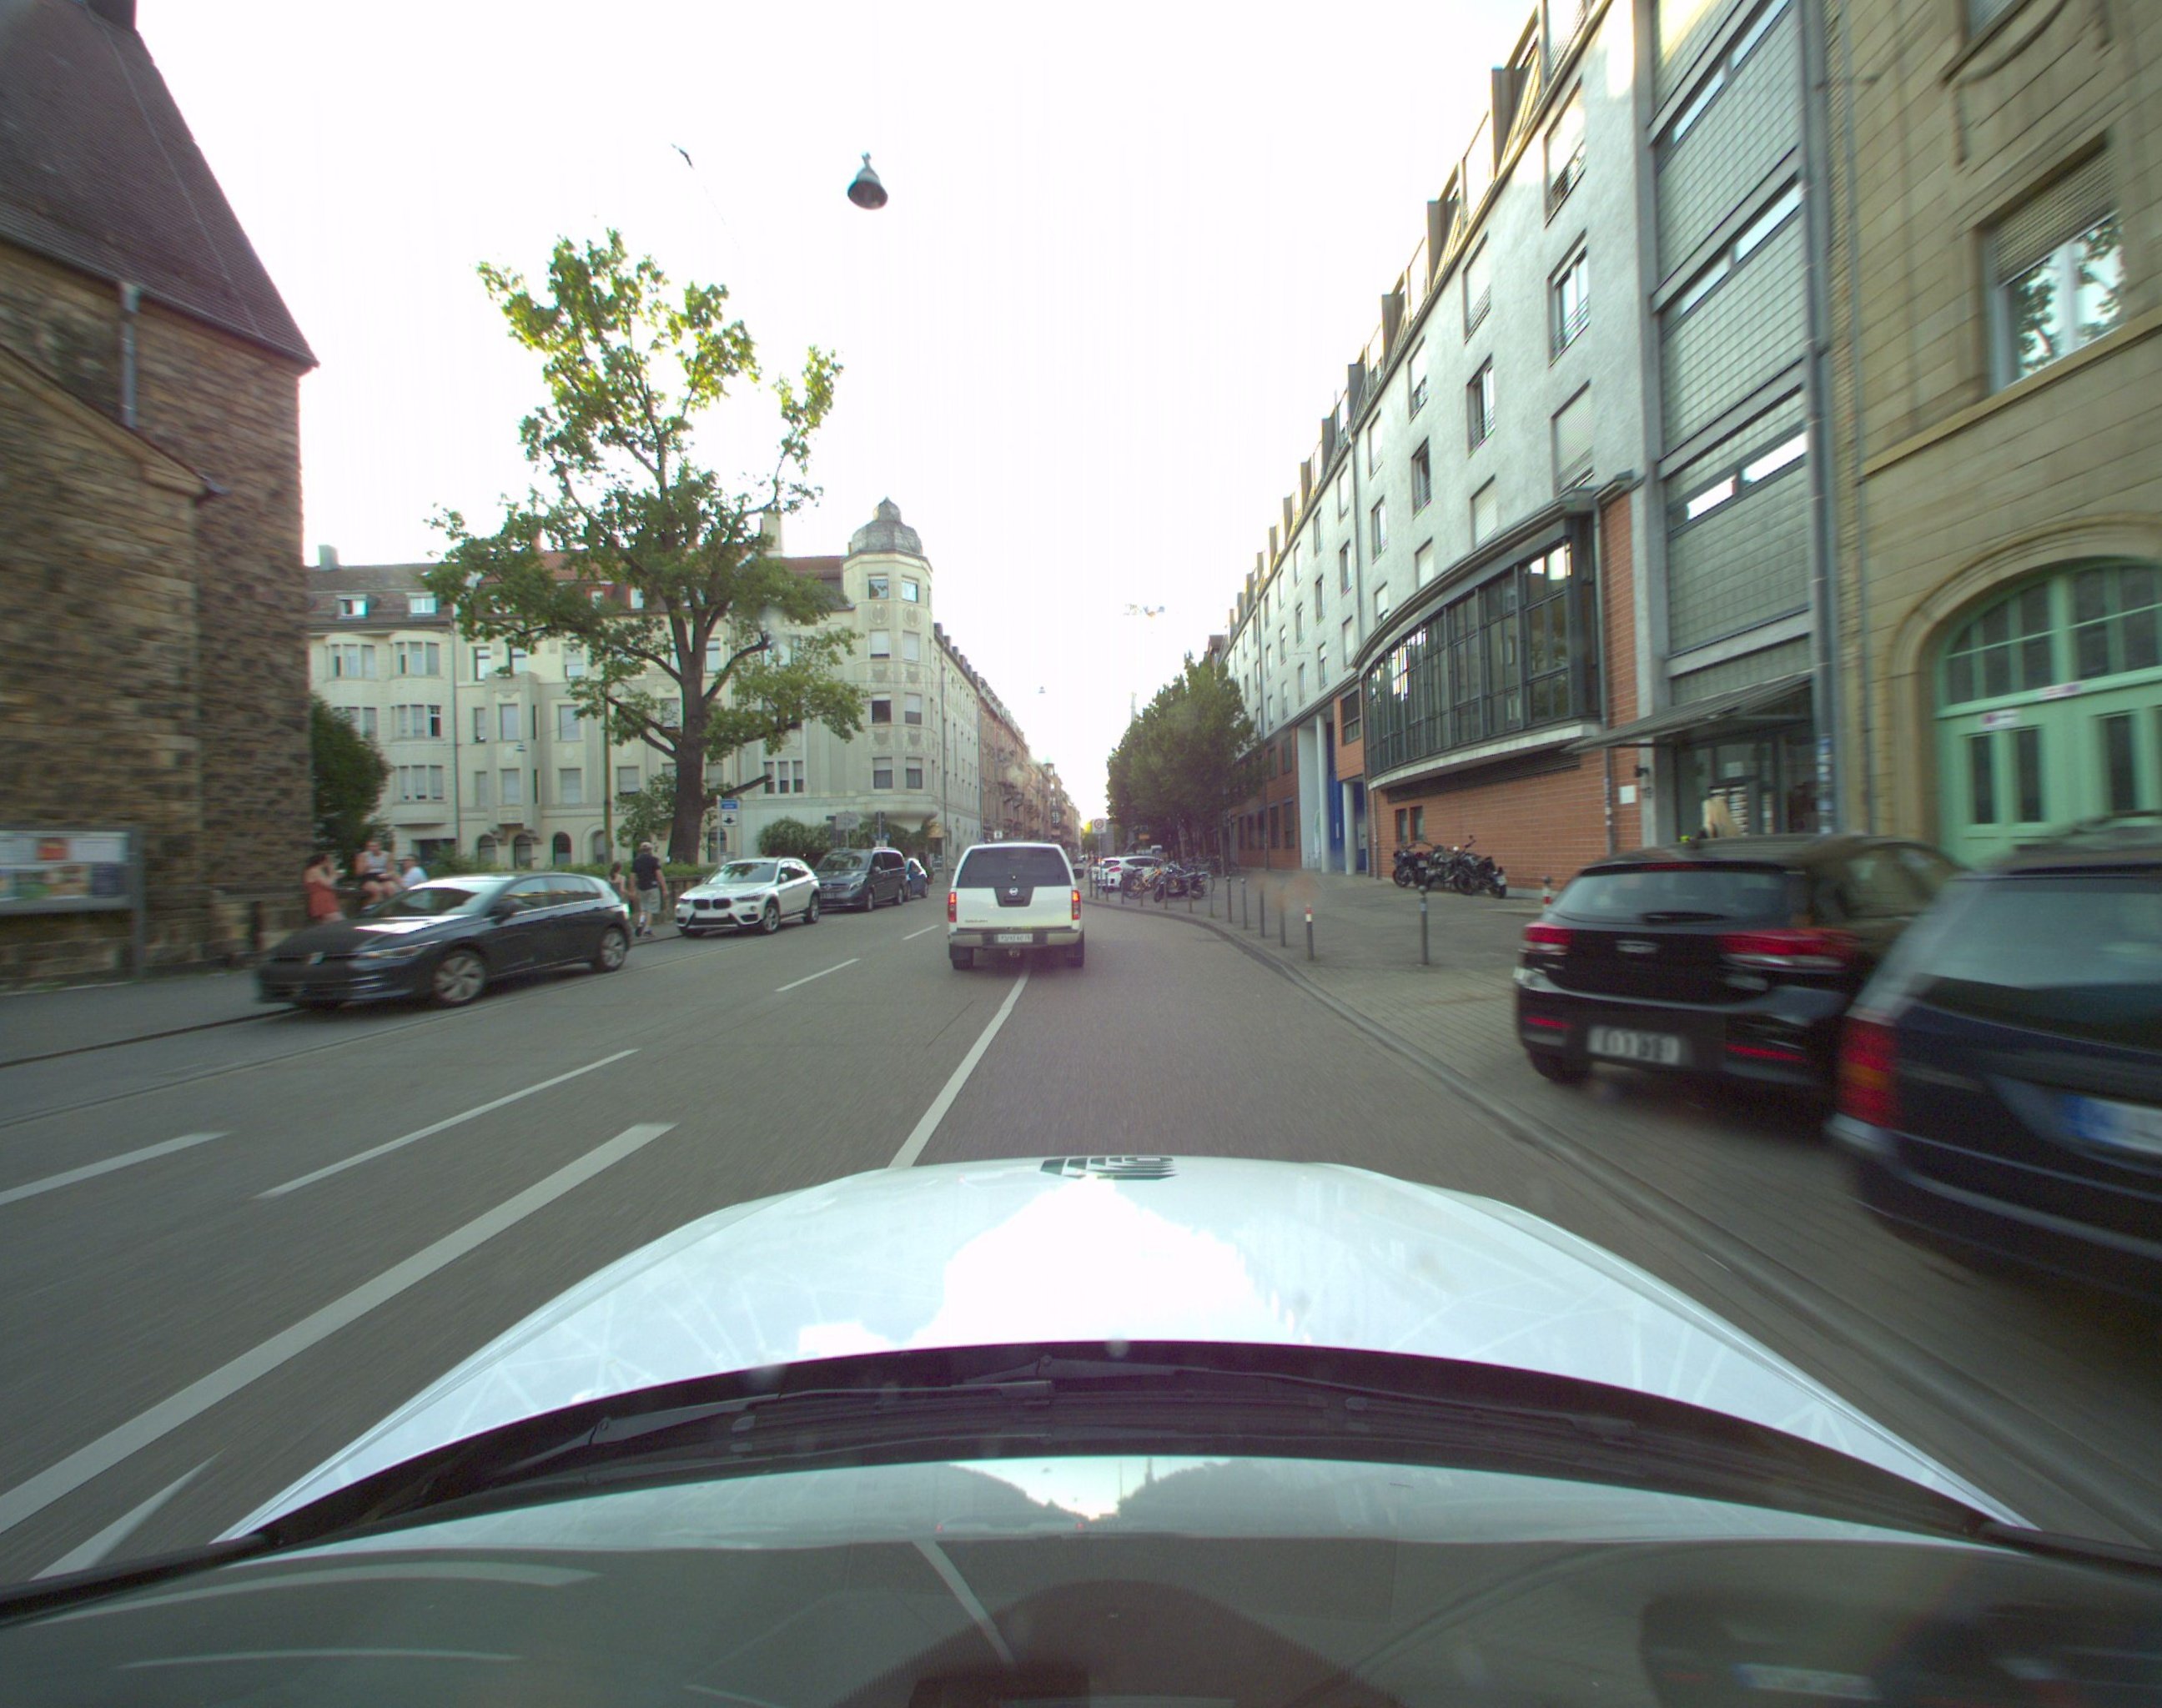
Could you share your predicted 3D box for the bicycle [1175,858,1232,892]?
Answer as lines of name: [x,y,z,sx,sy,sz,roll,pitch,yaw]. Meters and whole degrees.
bicycle: [4.293,0.729,28.618,1.851,1.066,0.524,-4,0,0]

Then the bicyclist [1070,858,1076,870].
bicyclist: [-1.281,1.638,129.683,0.798,1.849,0.943,-1,-1,-1]

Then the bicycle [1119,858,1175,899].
bicycle: [2.113,0.784,26.223,1.702,1.176,0.472,-4,0,0]

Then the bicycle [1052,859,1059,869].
bicycle: [-2.762,1.066,88.376,0.612,1.040,1.905,-2,0,2]

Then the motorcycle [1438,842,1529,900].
motorcycle: [8.801,0.352,17.951,0.797,1.139,2.441,-4,0,1]

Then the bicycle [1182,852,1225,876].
bicycle: [7.444,0.636,49.740,2.523,1.379,0.600,-2,-1,4]

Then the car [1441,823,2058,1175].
car: [4.423,0.601,5.274,4.081,1.492,1.707,-2,0,-30]

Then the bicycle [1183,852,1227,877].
bicycle: [7.445,0.631,49.025,2.523,1.379,0.600,-2,-1,4]

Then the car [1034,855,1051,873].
car: [-4.224,1.077,90.321,1.553,1.921,3.857,0,0,1]

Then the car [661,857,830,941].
car: [-7.265,0.888,18.191,1.865,1.592,4.468,-2,0,0]

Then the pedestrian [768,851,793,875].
pedestrian: [-12.546,0.369,34.024,0.704,0.980,0.837,-2,0,0]

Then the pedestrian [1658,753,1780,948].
pedestrian: [6.990,-0.038,8.965,0.604,2.013,0.858,-2,0,3]

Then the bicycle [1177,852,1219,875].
bicycle: [7.644,0.629,53.332,2.523,1.244,0.600,-7,-1,4]

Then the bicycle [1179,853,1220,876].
bicycle: [7.552,0.656,51.959,2.523,1.379,0.600,-2,-1,4]

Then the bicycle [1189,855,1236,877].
bicycle: [7.333,0.667,45.409,2.523,1.166,0.562,-2,-1,4]

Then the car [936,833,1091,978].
car: [-0.833,0.660,12.600,1.927,1.794,4.621,-1,0,0]

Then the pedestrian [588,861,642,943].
pedestrian: [-9.173,0.927,16.064,0.580,1.552,0.839,-1,0,-2]

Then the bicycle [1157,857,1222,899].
bicycle: [3.388,0.749,25.505,1.852,1.146,0.659,-5,0,1]

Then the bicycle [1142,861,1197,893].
bicycle: [3.219,0.839,29.804,1.905,1.066,0.524,-4,0,0]

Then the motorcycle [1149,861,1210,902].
motorcycle: [2.946,0.806,24.336,1.643,1.101,0.645,-4,0,-7]

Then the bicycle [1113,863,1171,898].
bicycle: [2.039,0.888,27.301,1.851,1.038,0.472,-4,0,0]

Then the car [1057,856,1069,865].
car: [-3.147,1.089,143.244,1.841,1.552,4.354,-1,0,-1]

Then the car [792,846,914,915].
car: [-6.891,0.749,25.310,1.985,1.866,5.294,-1,0,3]

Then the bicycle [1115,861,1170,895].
bicycle: [2.176,0.853,28.964,1.851,1.066,0.445,-4,0,0]

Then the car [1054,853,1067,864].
car: [-3.095,0.695,125.531,1.703,1.530,4.002,-1,0,2]

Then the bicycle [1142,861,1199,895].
bicycle: [3.046,0.819,27.870,1.851,1.038,0.402,-4,0,0]

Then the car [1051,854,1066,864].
car: [-3.284,0.727,119.252,1.784,1.530,4.002,-1,0,2]

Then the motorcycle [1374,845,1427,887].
motorcycle: [9.150,0.331,23.419,0.586,1.103,2.083,-4,0,-1]

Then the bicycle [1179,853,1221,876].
bicycle: [7.470,0.675,51.163,2.523,1.379,0.600,-2,-1,4]

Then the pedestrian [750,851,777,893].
pedestrian: [-13.254,0.750,34.009,0.704,1.721,0.837,-2,-1,0]

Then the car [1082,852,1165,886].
car: [2.225,0.745,41.958,4.011,1.537,1.620,-2,0,-29]

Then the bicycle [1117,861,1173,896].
bicycle: [2.229,0.845,28.314,1.851,1.066,0.445,-4,0,0]

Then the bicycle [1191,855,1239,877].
bicycle: [7.350,0.661,44.750,2.523,1.166,0.562,-2,-1,4]

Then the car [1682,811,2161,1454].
car: [4.445,0.594,2.911,4.365,1.502,1.897,-2,0,-27]

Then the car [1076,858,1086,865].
car: [-0.008,1.587,172.911,1.838,1.552,4.360,-1,0,4]

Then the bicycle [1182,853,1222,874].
bicycle: [8.097,0.633,54.551,2.523,1.379,0.600,-2,-1,4]

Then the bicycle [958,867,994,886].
bicycle: [-5.968,1.276,46.224,2.090,1.095,0.504,-1,1,26]

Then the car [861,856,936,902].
car: [-6.730,0.881,30.439,1.633,1.555,4.008,-1,0,4]

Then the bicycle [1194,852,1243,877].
bicycle: [7.131,0.562,42.311,2.336,1.099,0.681,-5,-1,4]

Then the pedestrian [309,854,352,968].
pedestrian: [-11.390,0.842,12.371,0.417,1.674,0.542,-1,-1,-38]

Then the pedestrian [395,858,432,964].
pedestrian: [-10.454,0.873,12.763,0.417,1.622,0.542,-1,-1,-38]

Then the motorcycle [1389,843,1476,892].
motorcycle: [9.012,0.348,21.008,0.775,1.139,2.407,-3,0,-11]

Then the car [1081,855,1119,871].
car: [2.170,0.997,94.329,4.172,1.780,1.823,-1,0,7]

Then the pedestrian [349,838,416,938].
pedestrian: [-11.165,0.531,13.026,0.644,1.545,0.589,-2,-1,25]

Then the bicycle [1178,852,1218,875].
bicycle: [7.550,0.624,52.627,2.523,1.379,0.600,-2,-1,4]

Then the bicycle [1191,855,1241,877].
bicycle: [7.222,0.643,43.517,2.523,0.959,0.681,-5,-1,4]

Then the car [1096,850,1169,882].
car: [2.843,0.661,44.682,3.618,1.580,1.699,-2,0,-32]

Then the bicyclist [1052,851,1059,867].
bicyclist: [-2.771,0.551,88.378,0.600,1.685,1.143,-2,-1,2]

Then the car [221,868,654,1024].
car: [-7.480,0.944,10.180,1.776,1.435,4.319,-2,0,3]

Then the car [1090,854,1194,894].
car: [2.574,0.816,34.098,4.010,1.506,1.754,-2,0,-28]

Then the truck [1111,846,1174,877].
truck: [6.262,0.804,83.565,6.294,2.977,2.265,-1,-3,3]

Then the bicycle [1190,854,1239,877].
bicycle: [7.232,0.632,44.139,2.523,1.166,0.562,-2,-1,4]

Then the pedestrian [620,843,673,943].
pedestrian: [-8.595,0.750,16.131,0.580,1.905,0.802,-2,0,-2]

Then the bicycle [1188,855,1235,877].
bicycle: [7.369,0.665,46.020,2.523,1.166,0.562,-2,-1,4]

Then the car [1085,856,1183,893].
car: [2.399,0.907,36.507,4.013,1.473,1.857,-2,-2,-31]

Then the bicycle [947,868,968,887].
bicycle: [-6.860,1.300,45.260,0.420,1.012,1.726,-1,1,15]

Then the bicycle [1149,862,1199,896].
bicycle: [3.043,0.816,26.740,1.535,1.038,0.472,-4,0,0]
